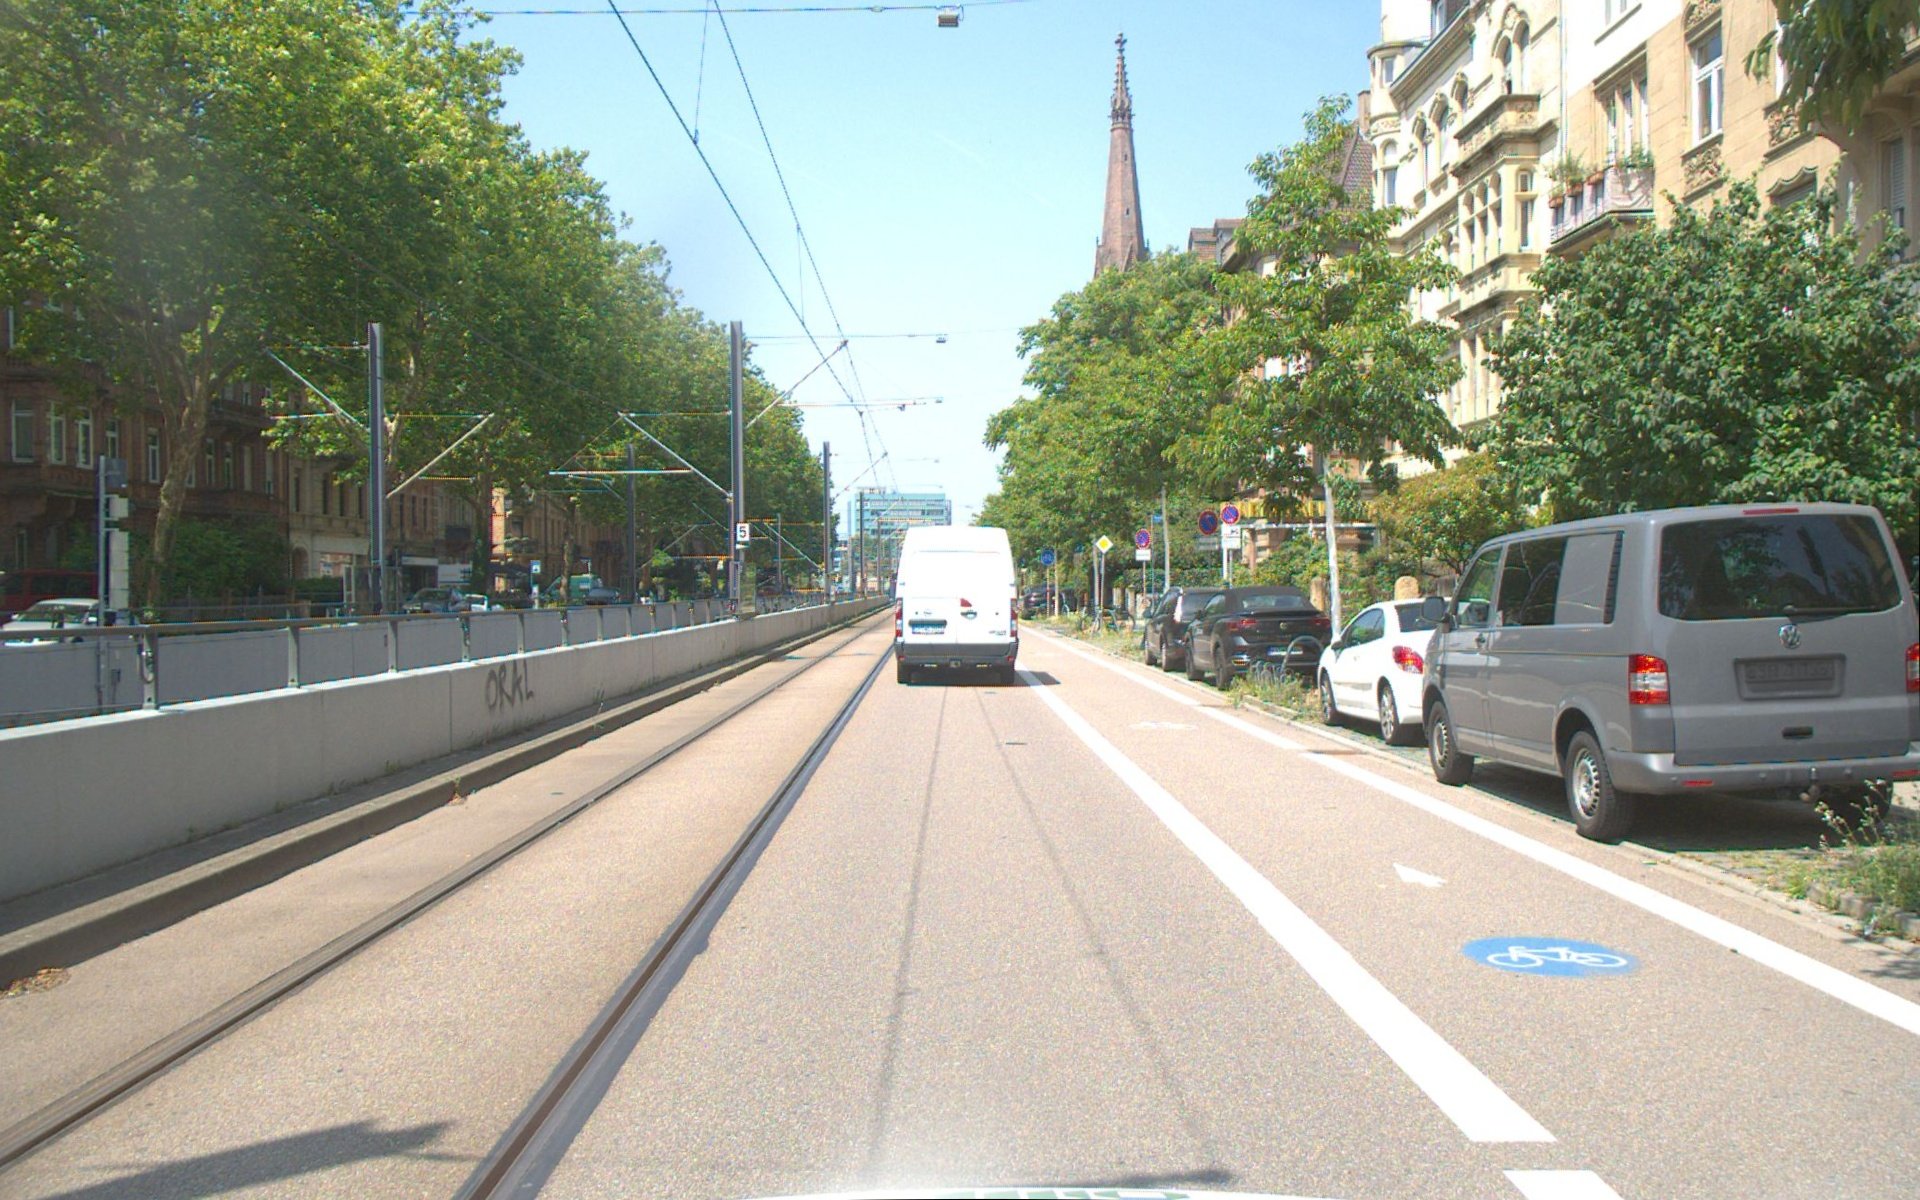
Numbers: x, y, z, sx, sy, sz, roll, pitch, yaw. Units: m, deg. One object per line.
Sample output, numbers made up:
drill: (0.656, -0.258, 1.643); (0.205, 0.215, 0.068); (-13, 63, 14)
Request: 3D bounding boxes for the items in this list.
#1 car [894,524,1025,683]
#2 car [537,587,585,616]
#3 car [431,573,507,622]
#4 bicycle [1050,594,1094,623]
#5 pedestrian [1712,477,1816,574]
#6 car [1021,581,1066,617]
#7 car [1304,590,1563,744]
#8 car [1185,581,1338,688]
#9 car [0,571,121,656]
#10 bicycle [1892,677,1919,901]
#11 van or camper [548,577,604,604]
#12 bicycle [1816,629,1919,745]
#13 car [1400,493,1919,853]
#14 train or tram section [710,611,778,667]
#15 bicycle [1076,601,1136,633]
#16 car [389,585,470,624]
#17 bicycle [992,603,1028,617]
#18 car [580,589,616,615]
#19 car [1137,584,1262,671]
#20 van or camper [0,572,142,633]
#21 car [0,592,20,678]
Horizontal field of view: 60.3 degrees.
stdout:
car: (-0.073, 0.029, 28.634); (2.074, 2.502, 5.053); (0, 0, -2)
car: (-20.734, 0.082, 86.086); (1.560, 1.473, 4.000); (0, 0, -1)
car: (-20.028, -0.119, 67.630); (1.953, 1.937, 4.147); (0, 0, -2)
bicycle: (4.846, 0.367, 71.698); (1.849, 1.202, 0.640); (0, 0, -3)
pedestrian: (9.233, -0.842, 19.015); (0.847, 1.088, 0.762); (0, 0, 3)
car: (4.062, -0.059, 81.132); (2.112, 1.699, 4.001); (0, 0, 1)
car: (4.939, 0.622, 17.782); (1.578, 1.430, 3.999); (-1, 1, -1)
car: (4.697, 0.485, 26.292); (1.633, 1.557, 4.012); (-1, 1, -1)
car: (-19.558, 0.248, 35.167); (1.620, 1.714, 3.706); (0, 0, -2)
bicycle: (5.274, 0.860, 7.625); (1.847, 1.009, 0.469); (0, 0, -11)
van or camper: (-29.979, -0.765, 129.184); (3.908, 2.049, 1.999); (0, 0, -4)
bicycle: (7.934, 0.714, 14.062); (0.431, 0.895, 1.635); (0, 0, -1)
car: (4.745, 0.379, 11.755); (1.841, 1.981, 4.836); (-2, 1, -1)
train or tram section: (-10.888, 1.888, 83.894); (2.674, 2.552, 8.513); (0, 0, -2)
bicycle: (4.526, 0.519, 51.244); (1.804, 0.970, 0.503); (-1, 0, 0)
car: (-19.919, 0.146, 62.288); (1.814, 1.425, 4.196); (0, 0, -2)
bicycle: (3.107, 0.614, 101.743); (1.526, 0.841, 4.004); (0, 1, 12)
car: (-20.567, 0.097, 94.121); (1.345, 1.448, 3.088); (-1, 0, 0)
car: (4.552, 0.481, 31.989); (1.694, 1.562, 4.403); (0, 0, -1)
van or camper: (-28.372, 0.067, 51.905); (4.448, 1.869, 1.933); (0, 0, 5)
car: (-19.457, 0.690, 30.239); (1.953, 1.653, 4.716); (0, 0, -2)
